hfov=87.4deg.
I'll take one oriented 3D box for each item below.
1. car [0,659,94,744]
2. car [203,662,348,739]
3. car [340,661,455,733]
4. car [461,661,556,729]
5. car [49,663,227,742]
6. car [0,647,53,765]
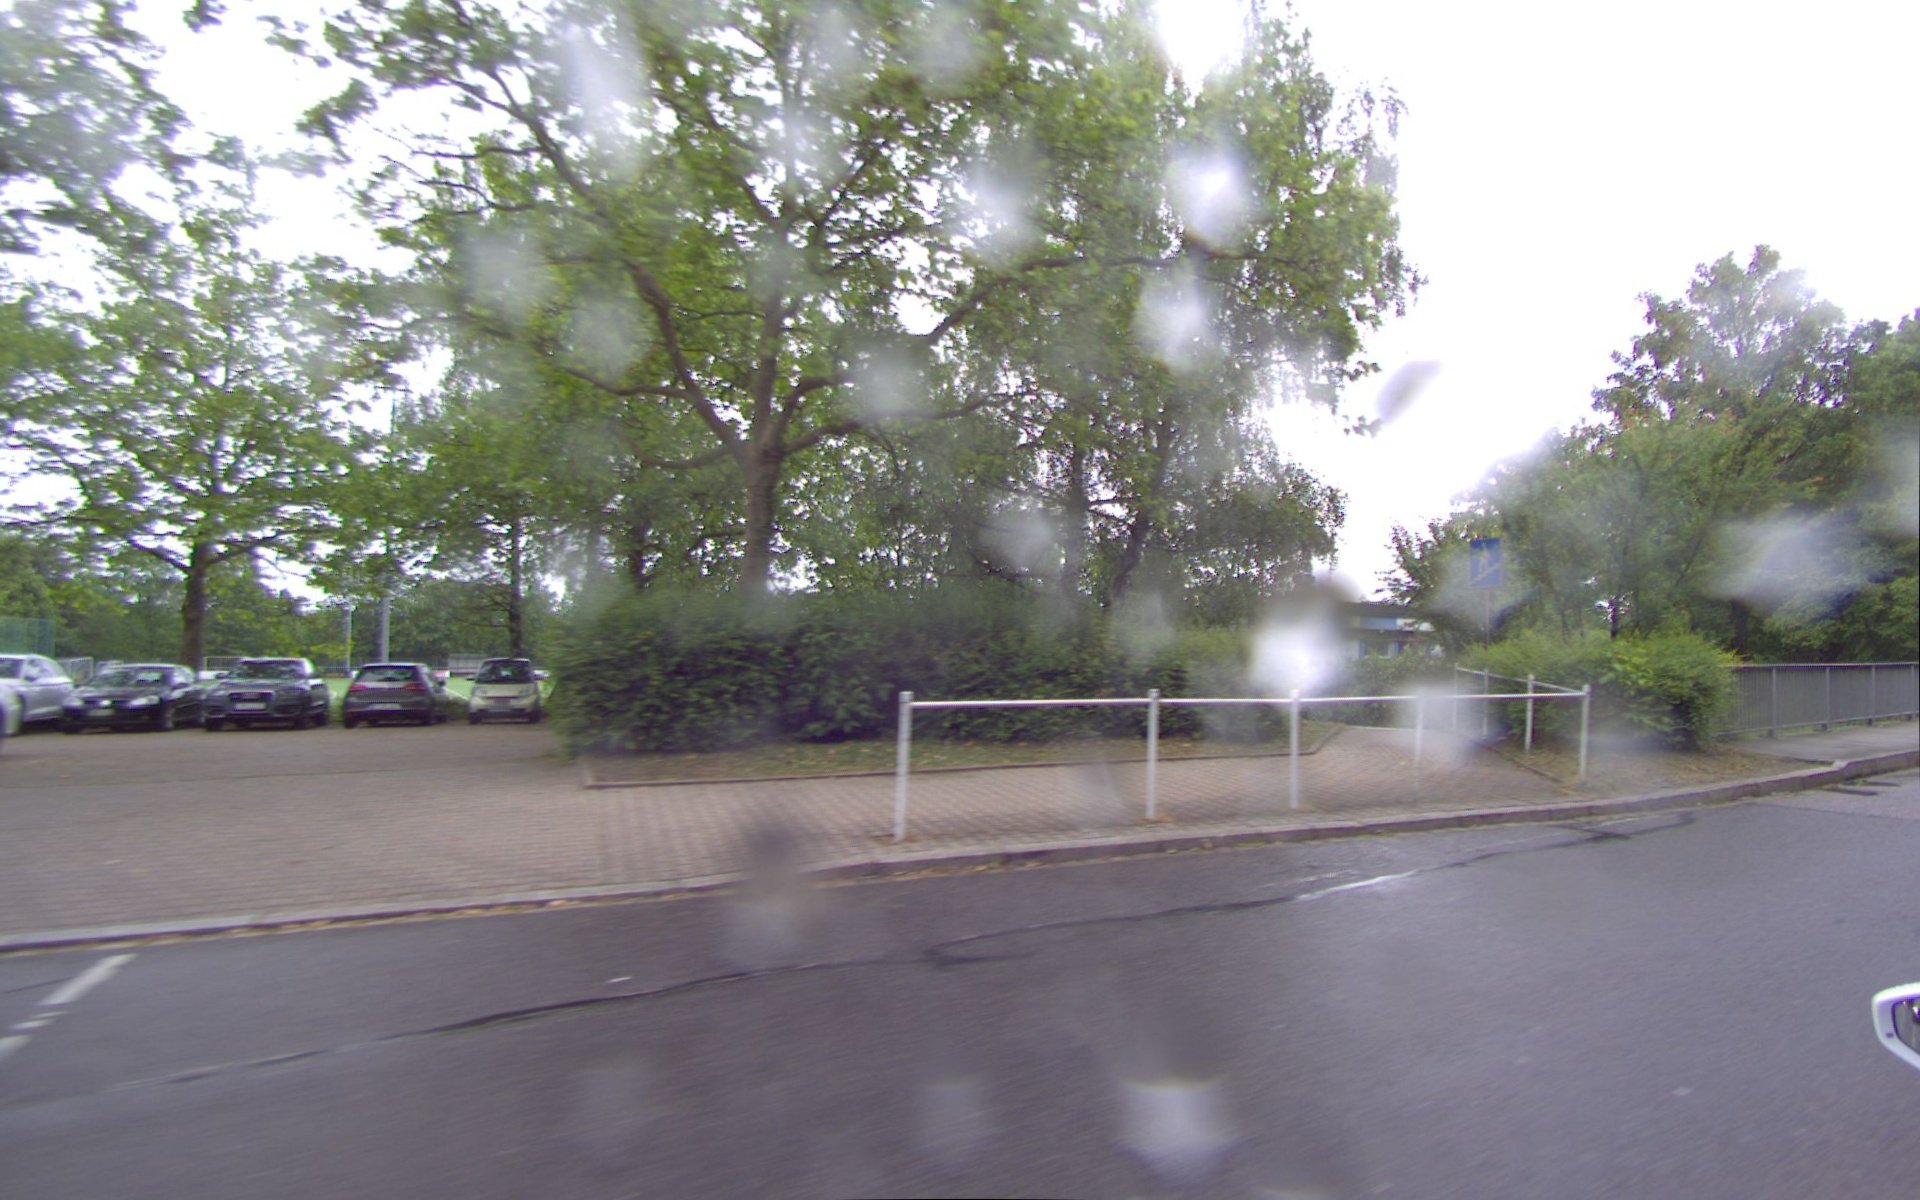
[{"bbox_3d":[-19.815,2.101,20.875,1.777,1.625,4.021,1,-5,-27],"label":"car"},{"bbox_3d":[-15.129,2.208,22.442,1.773,1.529,3.983,1,-5,-21],"label":"car"},{"bbox_3d":[-13.045,2.243,23.528,1.773,1.529,3.983,1,-5,-21],"label":"car"},{"bbox_3d":[-11.126,2.344,24.988,1.772,1.529,3.985,1,-5,-19],"label":"car"},{"bbox_3d":[-17.595,2.174,21.745,1.773,1.529,3.983,1,-5,-21],"label":"car"},{"bbox_3d":[-13.074,1.284,11.788,1.771,1.529,4.499,0,-5,-17],"label":"car"}]
